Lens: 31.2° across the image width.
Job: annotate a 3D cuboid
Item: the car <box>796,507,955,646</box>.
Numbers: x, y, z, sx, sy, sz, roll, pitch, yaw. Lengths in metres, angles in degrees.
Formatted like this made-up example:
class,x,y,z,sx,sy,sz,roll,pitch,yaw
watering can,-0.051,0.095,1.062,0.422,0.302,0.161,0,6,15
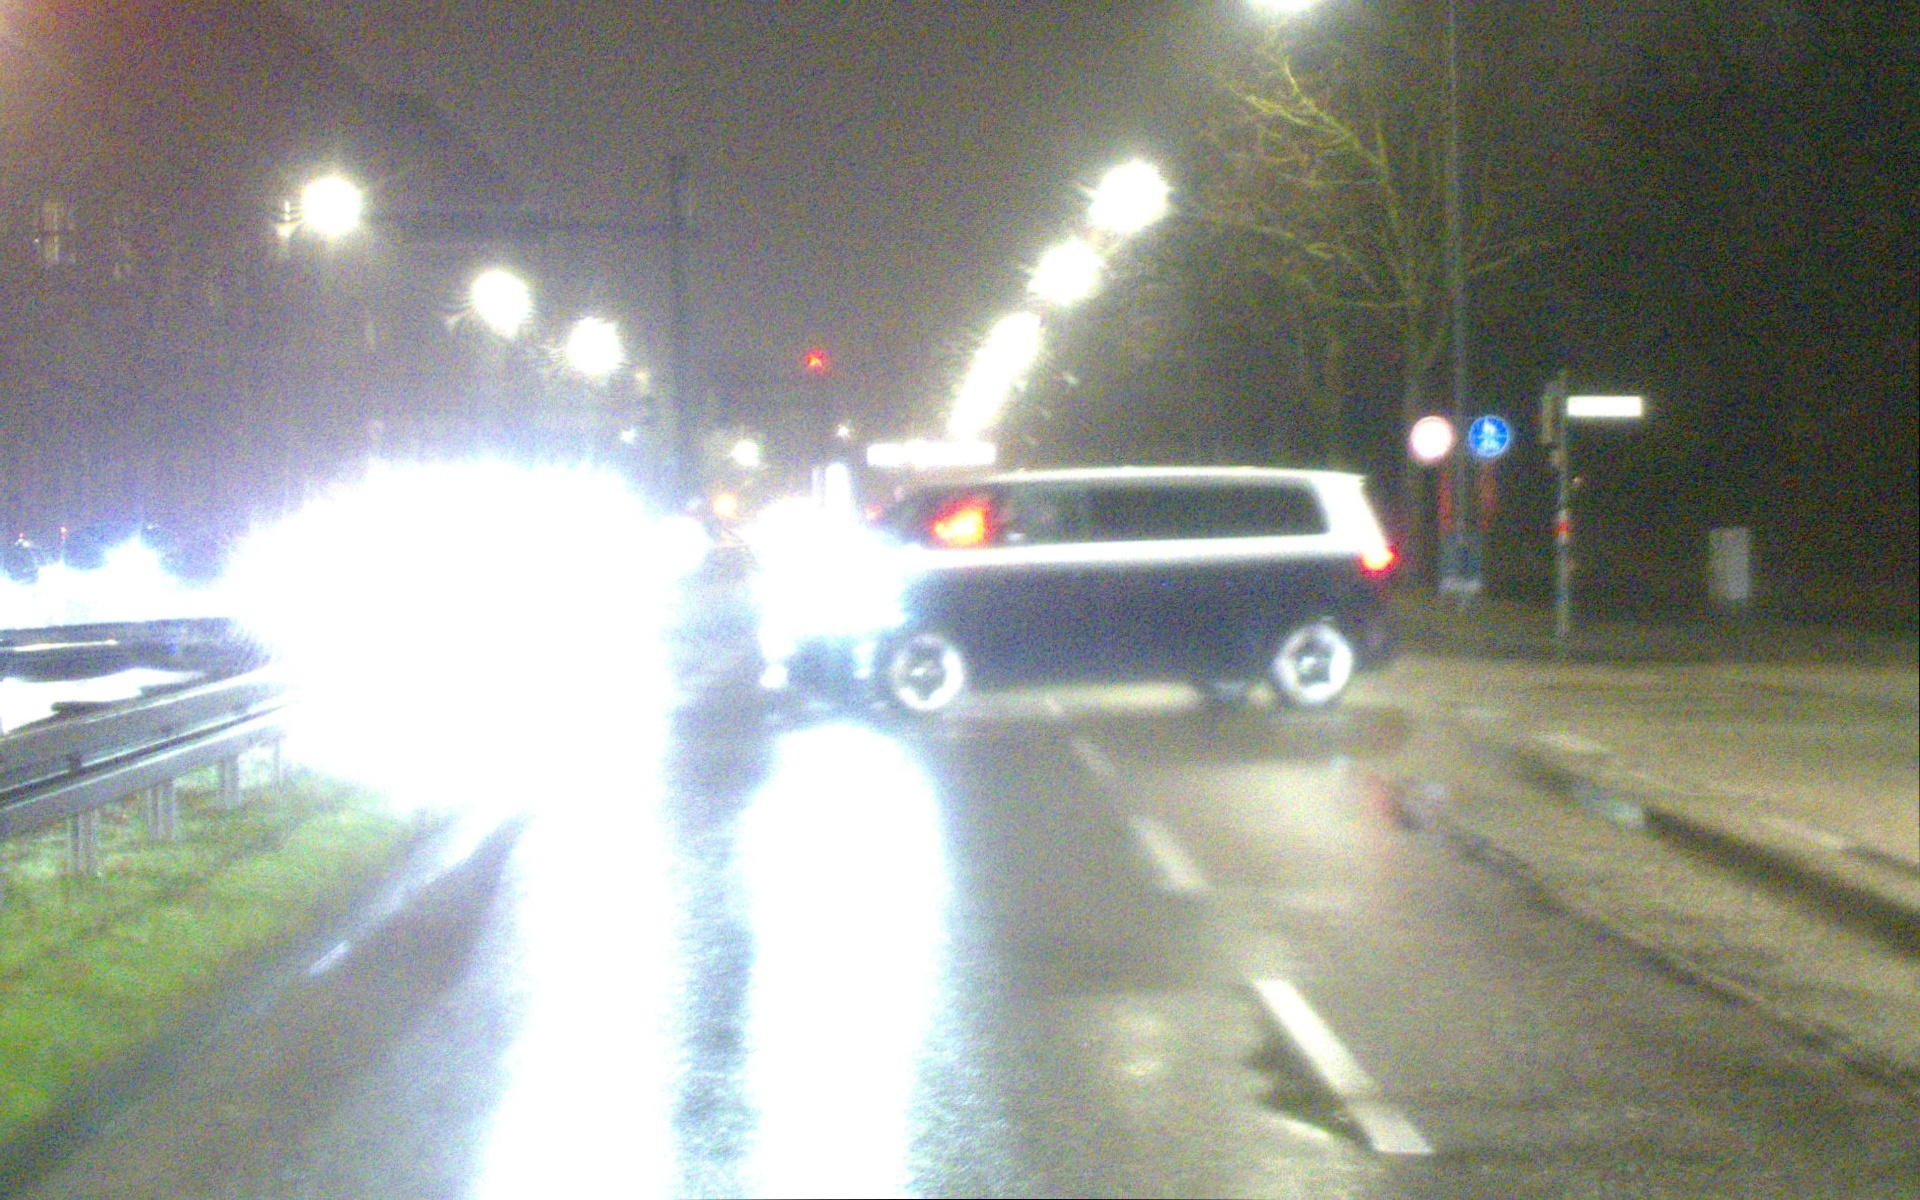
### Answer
class,x,y,z,sx,sy,sz,roll,pitch,yaw
car,-1.433,-0.391,55.842,2.134,2.137,4.929,1,1,-6

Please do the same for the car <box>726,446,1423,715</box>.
class,x,y,z,sx,sy,sz,roll,pitch,yaw
car,0.880,-0.192,27.049,5.091,1.978,2.001,-1,1,-17
